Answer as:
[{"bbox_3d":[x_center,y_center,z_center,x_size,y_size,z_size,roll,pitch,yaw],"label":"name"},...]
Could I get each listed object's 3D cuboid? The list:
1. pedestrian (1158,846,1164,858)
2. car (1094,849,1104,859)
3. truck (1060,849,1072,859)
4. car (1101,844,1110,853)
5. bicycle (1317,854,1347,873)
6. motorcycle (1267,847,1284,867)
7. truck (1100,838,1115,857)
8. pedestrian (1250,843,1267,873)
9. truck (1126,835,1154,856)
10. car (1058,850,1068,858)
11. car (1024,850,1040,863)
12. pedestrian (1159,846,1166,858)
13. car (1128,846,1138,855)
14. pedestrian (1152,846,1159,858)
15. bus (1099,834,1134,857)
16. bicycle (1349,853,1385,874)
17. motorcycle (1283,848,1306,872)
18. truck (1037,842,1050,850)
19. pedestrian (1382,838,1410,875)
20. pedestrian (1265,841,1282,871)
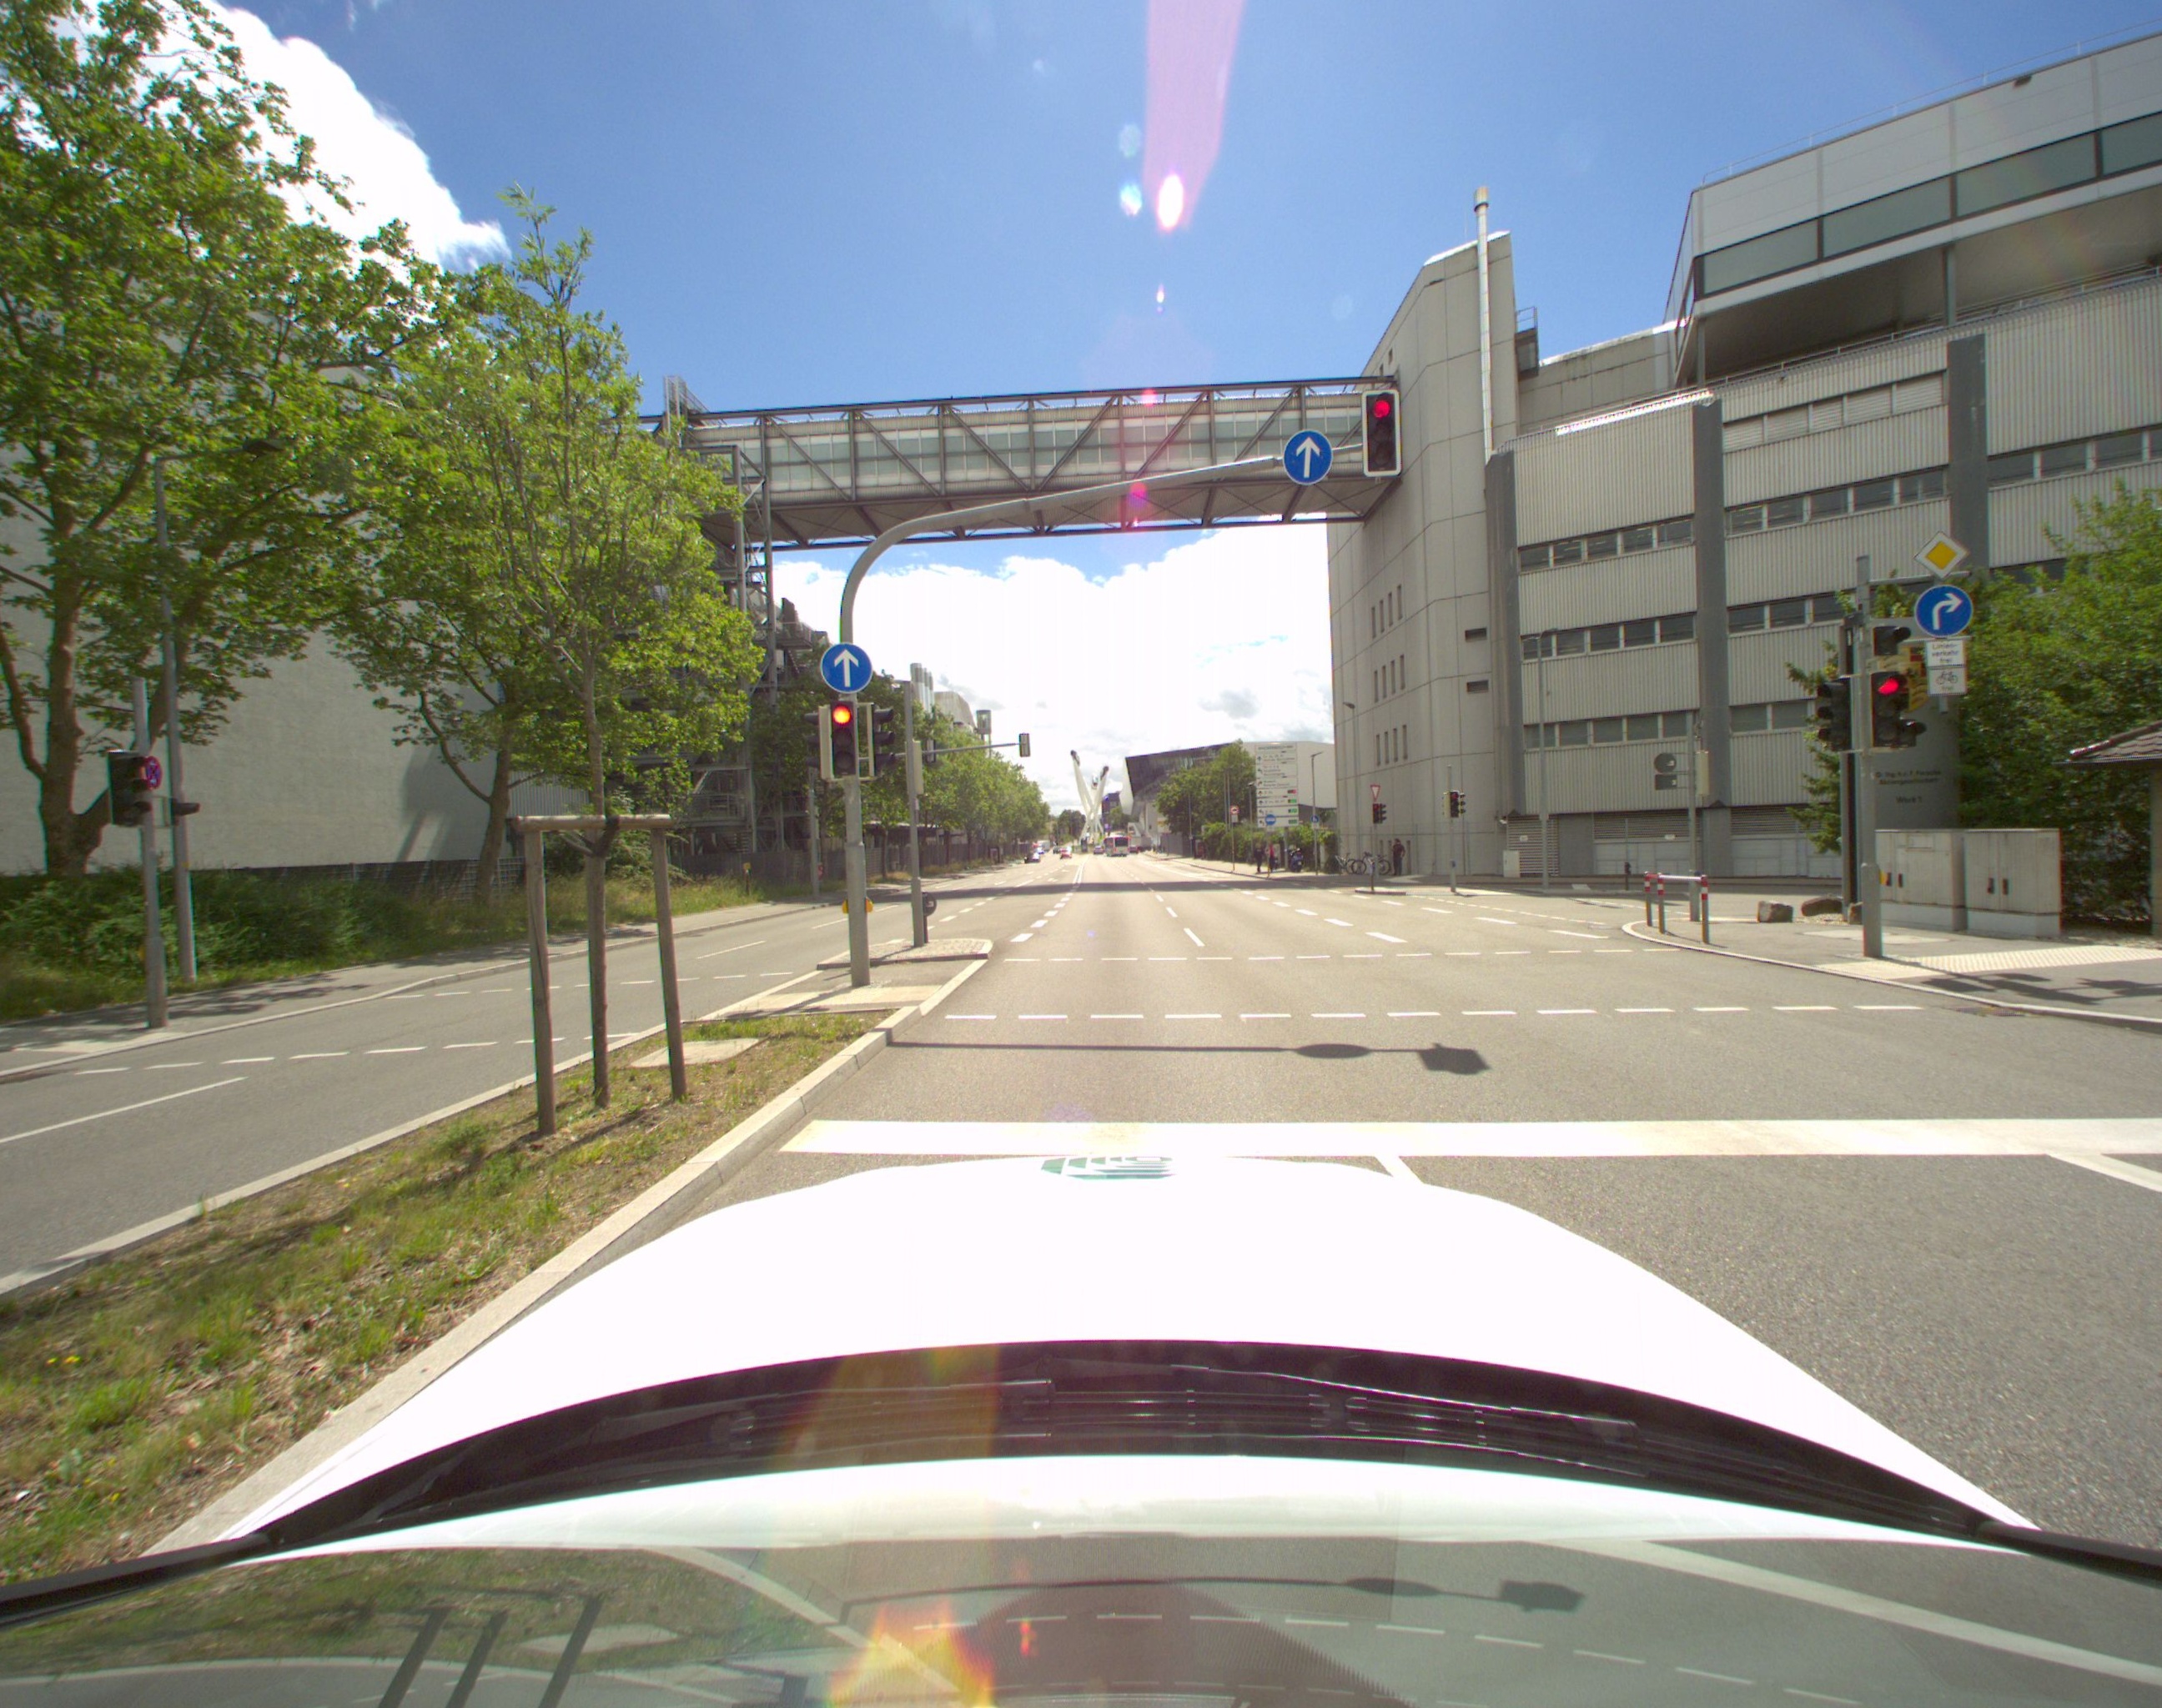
[{"bbox_3d":[13.602,-0.353,138.626,1.026,2.014,0.884,0,-1,-2],"label":"pedestrian"},{"bbox_3d":[3.247,-0.065,148.853,1.732,1.741,3.693,-1,0,2],"label":"car"},{"bbox_3d":[-2.265,-0.031,123.766,1.580,1.537,3.673,-1,0,-4],"label":"truck"},{"bbox_3d":[4.680,-1.006,156.615,1.732,1.741,3.693,-1,0,2],"label":"car"},{"bbox_3d":[12.550,0.456,40.798,0.398,0.937,1.917,-1,0,-17],"label":"bicycle"},{"bbox_3d":[12.541,0.201,52.590,0.572,1.203,2.025,-3,1,2],"label":"motorcycle"},{"bbox_3d":[5.585,-1.359,172.734,2.378,3.897,6.192,-1,0,9],"label":"truck"},{"bbox_3d":[10.386,0.218,47.747,0.817,1.707,0.881,-1,0,1],"label":"pedestrian"},{"bbox_3d":[12.550,-1.792,171.616,3.424,4.391,9.466,-1,0,19],"label":"truck"},{"bbox_3d":[-3.983,0.055,179.652,1.816,1.537,3.672,-3,0,-5],"label":"car"},{"bbox_3d":[-6.523,0.324,109.641,1.813,1.537,3.678,-3,0,0],"label":"car"},{"bbox_3d":[13.808,-0.375,137.598,1.026,2.014,0.884,0,-1,-2],"label":"pedestrian"},{"bbox_3d":[9.608,-0.640,149.613,1.732,1.741,3.693,-1,0,2],"label":"car"},{"bbox_3d":[12.617,-0.364,137.649,1.026,2.014,0.884,0,-1,-2],"label":"pedestrian"},{"bbox_3d":[5.673,-1.298,131.951,3.453,3.543,10.569,-1,0,-10],"label":"bus"},{"bbox_3d":[13.493,0.455,38.486,0.399,0.937,1.913,-1,0,-24],"label":"bicycle"},{"bbox_3d":[11.718,0.328,44.744,0.703,1.203,2.025,-3,1,2],"label":"motorcycle"},{"bbox_3d":[-10.087,-2.232,219.389,1.744,2.013,4.469,-1,0,24],"label":"truck"},{"bbox_3d":[14.266,0.103,36.893,0.839,1.624,0.962,-1,0,43],"label":"pedestrian"},{"bbox_3d":[11.269,0.130,47.786,0.817,1.741,0.637,-1,0,1],"label":"pedestrian"}]
